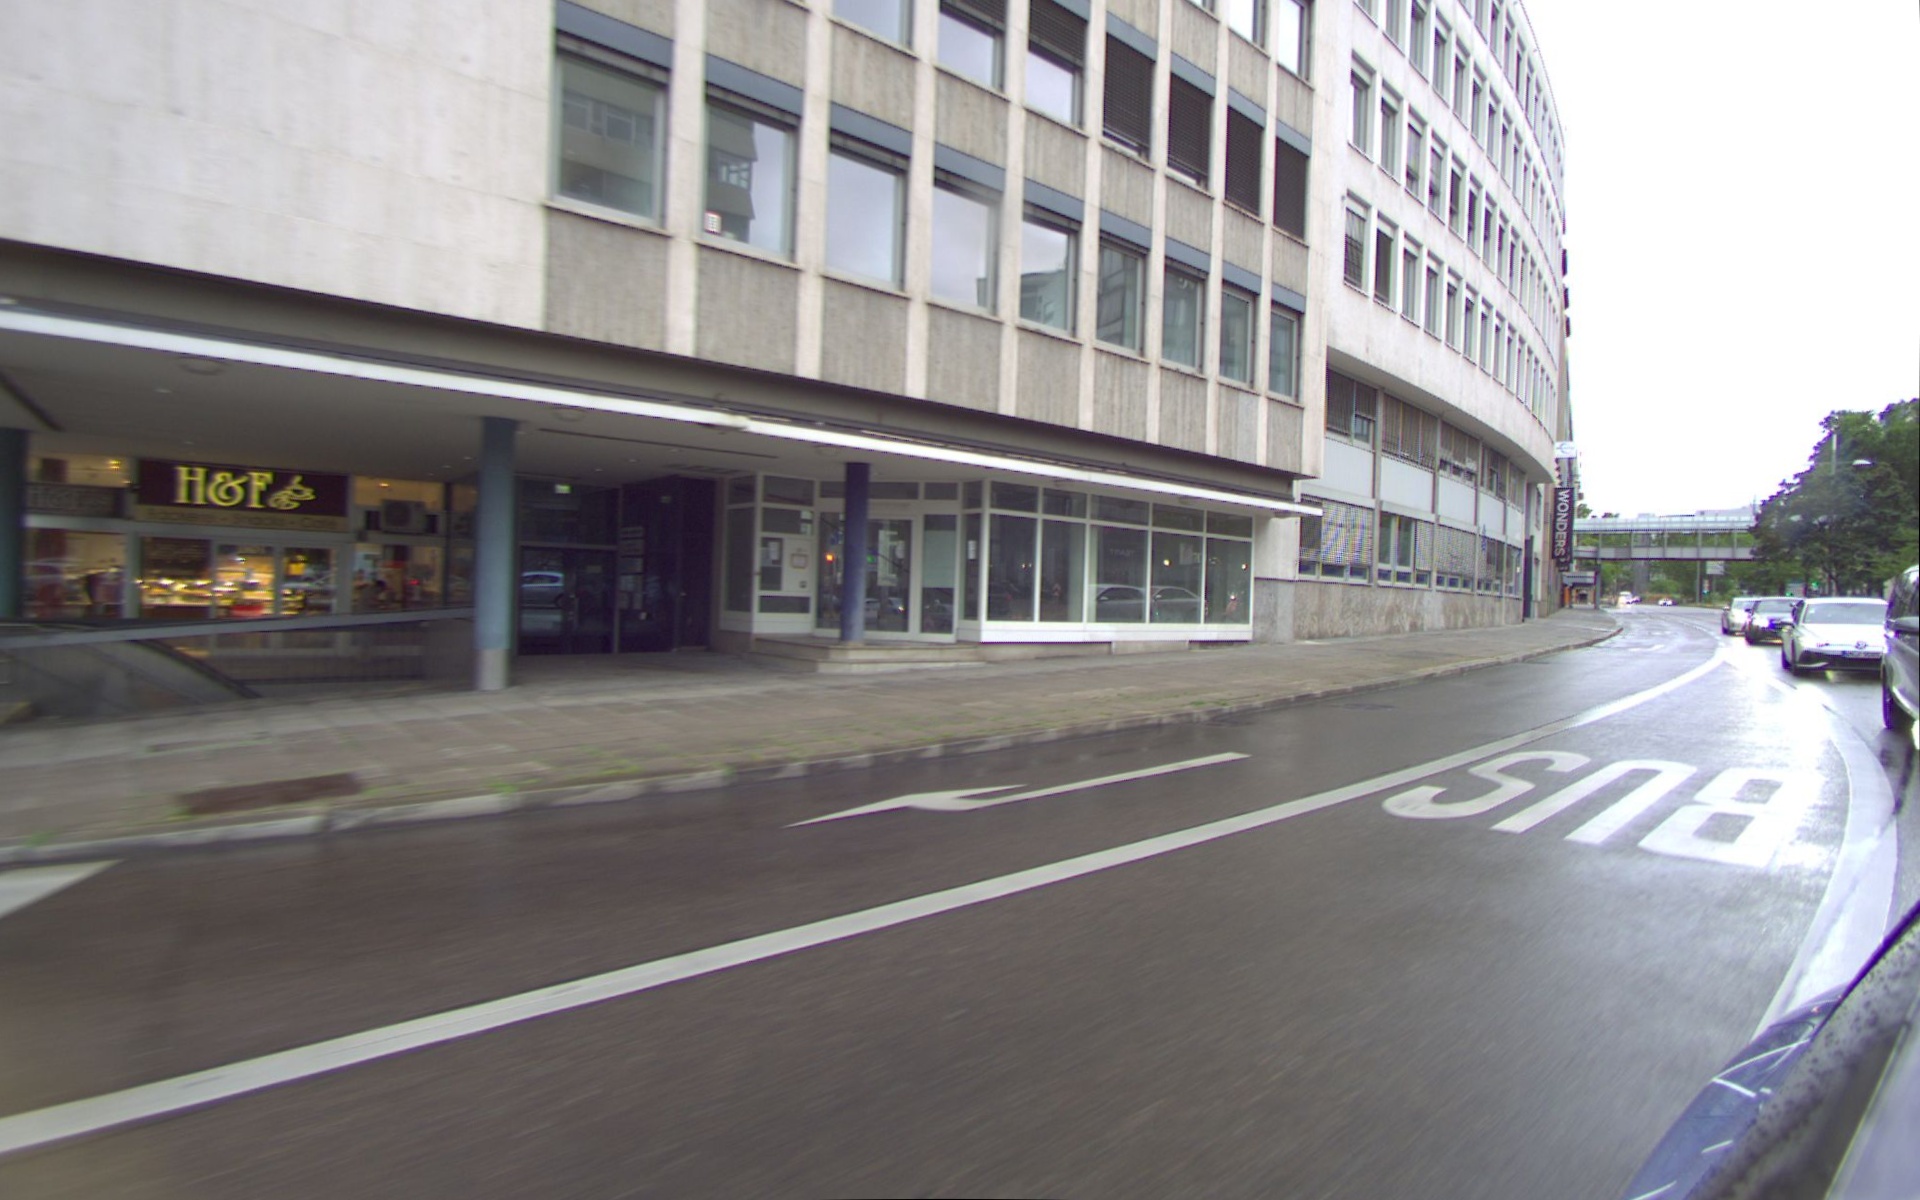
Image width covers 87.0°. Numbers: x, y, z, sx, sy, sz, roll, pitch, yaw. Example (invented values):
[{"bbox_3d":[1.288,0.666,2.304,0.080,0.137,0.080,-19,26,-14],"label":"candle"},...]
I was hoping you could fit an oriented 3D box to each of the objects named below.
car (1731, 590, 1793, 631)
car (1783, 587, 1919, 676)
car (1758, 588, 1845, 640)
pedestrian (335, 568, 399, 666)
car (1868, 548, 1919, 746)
[{"bbox_3d":[31.285,0.380,39.558,1.713,1.483,3.984,-1,1,36],"label":"car"},{"bbox_3d":[17.022,0.540,19.235,1.920,1.498,3.947,1,0,37],"label":"car"},{"bbox_3d":[26.592,0.399,32.046,1.990,1.483,4.342,-1,1,39],"label":"car"},{"bbox_3d":[-11.356,0.317,19.389,0.790,1.827,0.706,0,0,19],"label":"pedestrian"},{"bbox_3d":[10.279,0.443,9.603,1.906,1.879,4.962,0,0,36],"label":"car"}]
